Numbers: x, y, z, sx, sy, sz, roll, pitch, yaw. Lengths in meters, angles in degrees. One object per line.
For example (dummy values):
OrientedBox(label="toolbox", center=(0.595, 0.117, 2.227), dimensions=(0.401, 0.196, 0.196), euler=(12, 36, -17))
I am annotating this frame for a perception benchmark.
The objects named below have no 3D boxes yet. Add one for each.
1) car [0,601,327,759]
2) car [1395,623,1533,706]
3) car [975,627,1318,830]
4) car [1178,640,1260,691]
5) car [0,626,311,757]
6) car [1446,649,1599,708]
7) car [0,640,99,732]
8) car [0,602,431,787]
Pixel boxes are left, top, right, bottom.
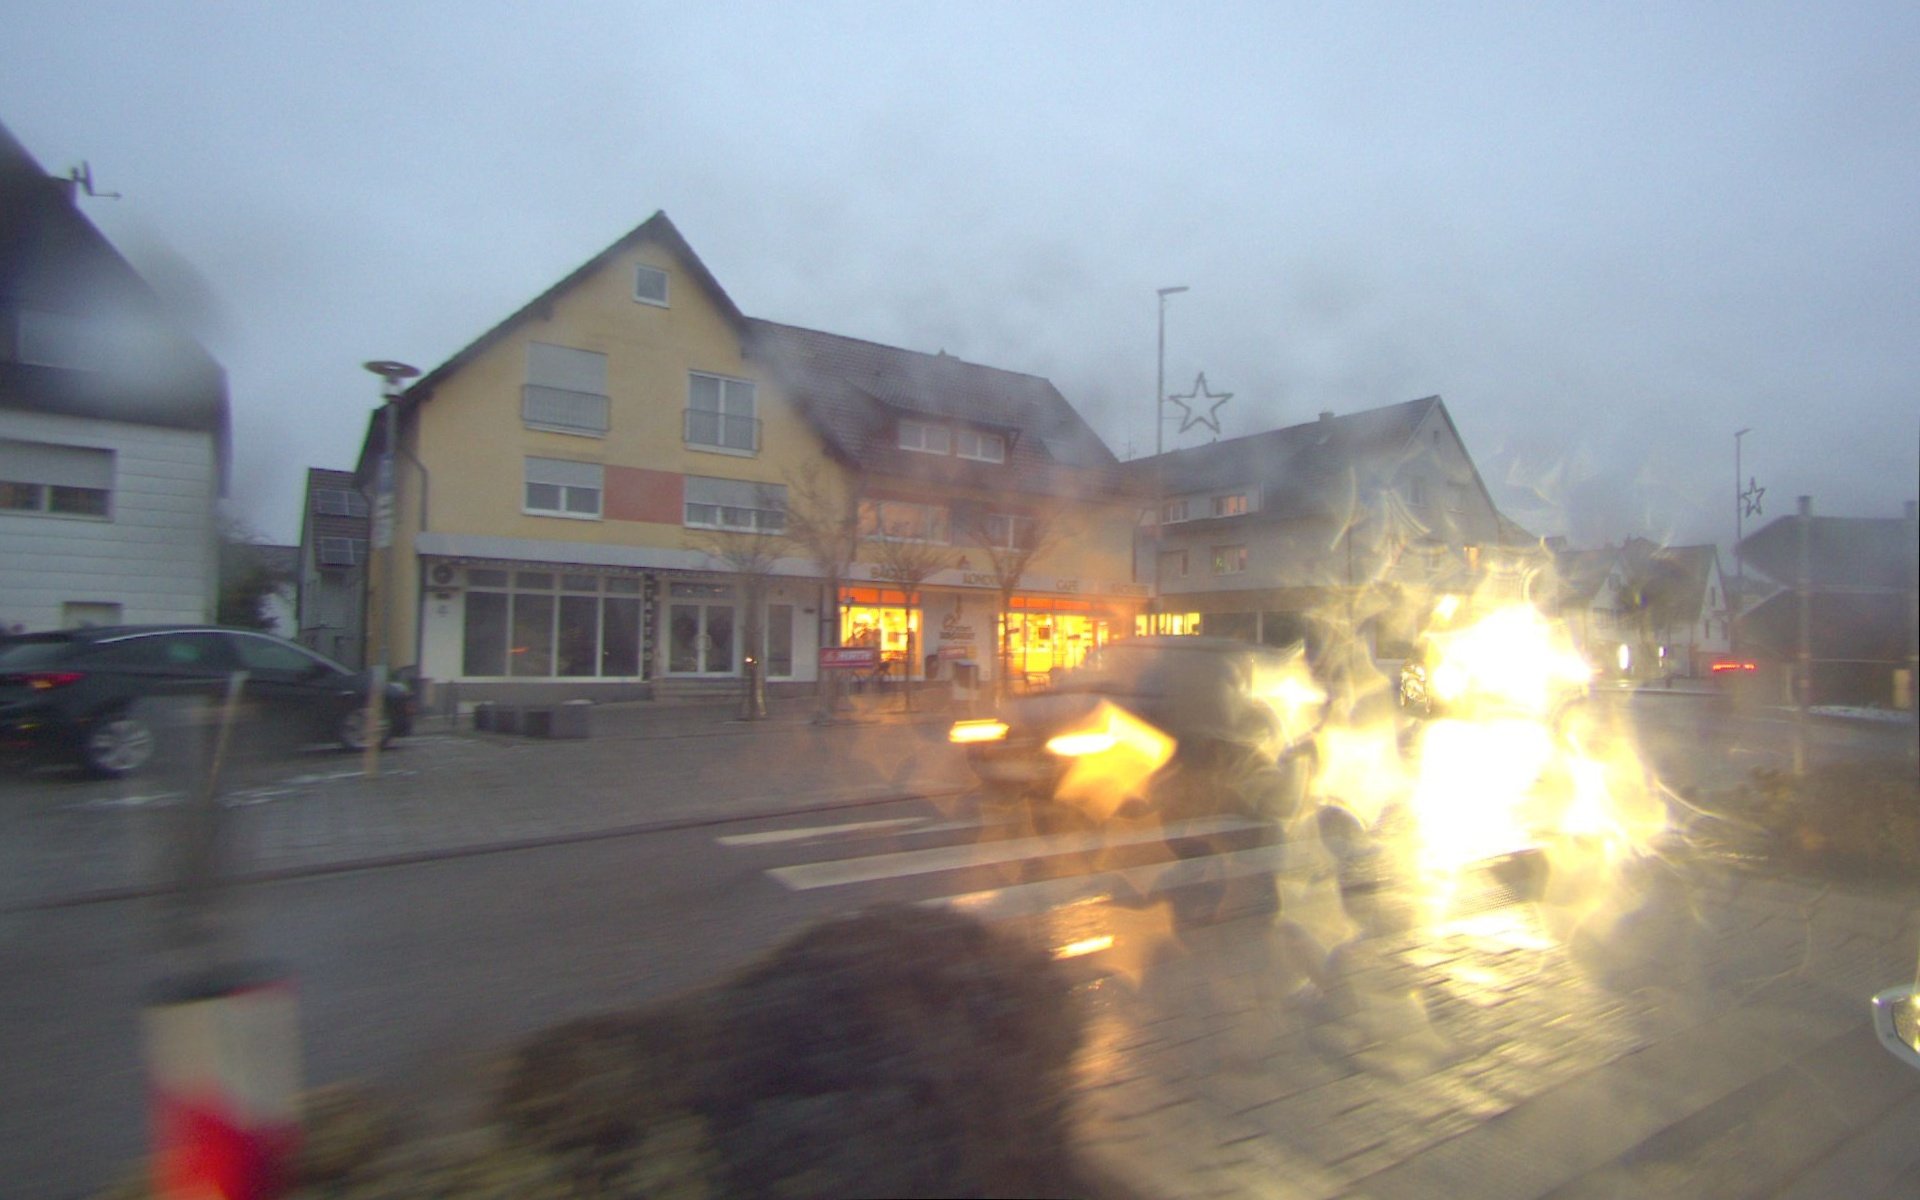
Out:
OrientedBox(label="car", center=(-10.464, 0.969, 12.641), dimensions=(1.805, 1.692, 3.896), euler=(-3, -3, 23))
OrientedBox(label="car", center=(9.754, 1.288, 19.754), dimensions=(1.681, 1.440, 4.016), euler=(-2, -4, 16))
OrientedBox(label="car", center=(1.780, 0.977, 8.861), dimensions=(1.487, 1.430, 3.349), euler=(-1, -3, 41))
OrientedBox(label="car", center=(9.542, 2.392, 37.424), dimensions=(1.915, 1.614, 4.633), euler=(1, 0, 1))
OrientedBox(label="car", center=(-12.071, 1.274, 14.711), dimensions=(1.733, 1.652, 3.996), euler=(-3, -4, 27))
OrientedBox(label="car", center=(18.175, 2.477, 32.574), dimensions=(1.690, 1.684, 4.021), euler=(2, -2, -40))
OrientedBox(label="car", center=(-18.809, 1.575, 18.385), dimensions=(4.376, 1.520, 1.899), euler=(1, 2, -33))
OrientedBox(label="car", center=(-8.124, 0.890, 10.732), dimensions=(1.876, 1.551, 4.182), euler=(0, -3, 19))
